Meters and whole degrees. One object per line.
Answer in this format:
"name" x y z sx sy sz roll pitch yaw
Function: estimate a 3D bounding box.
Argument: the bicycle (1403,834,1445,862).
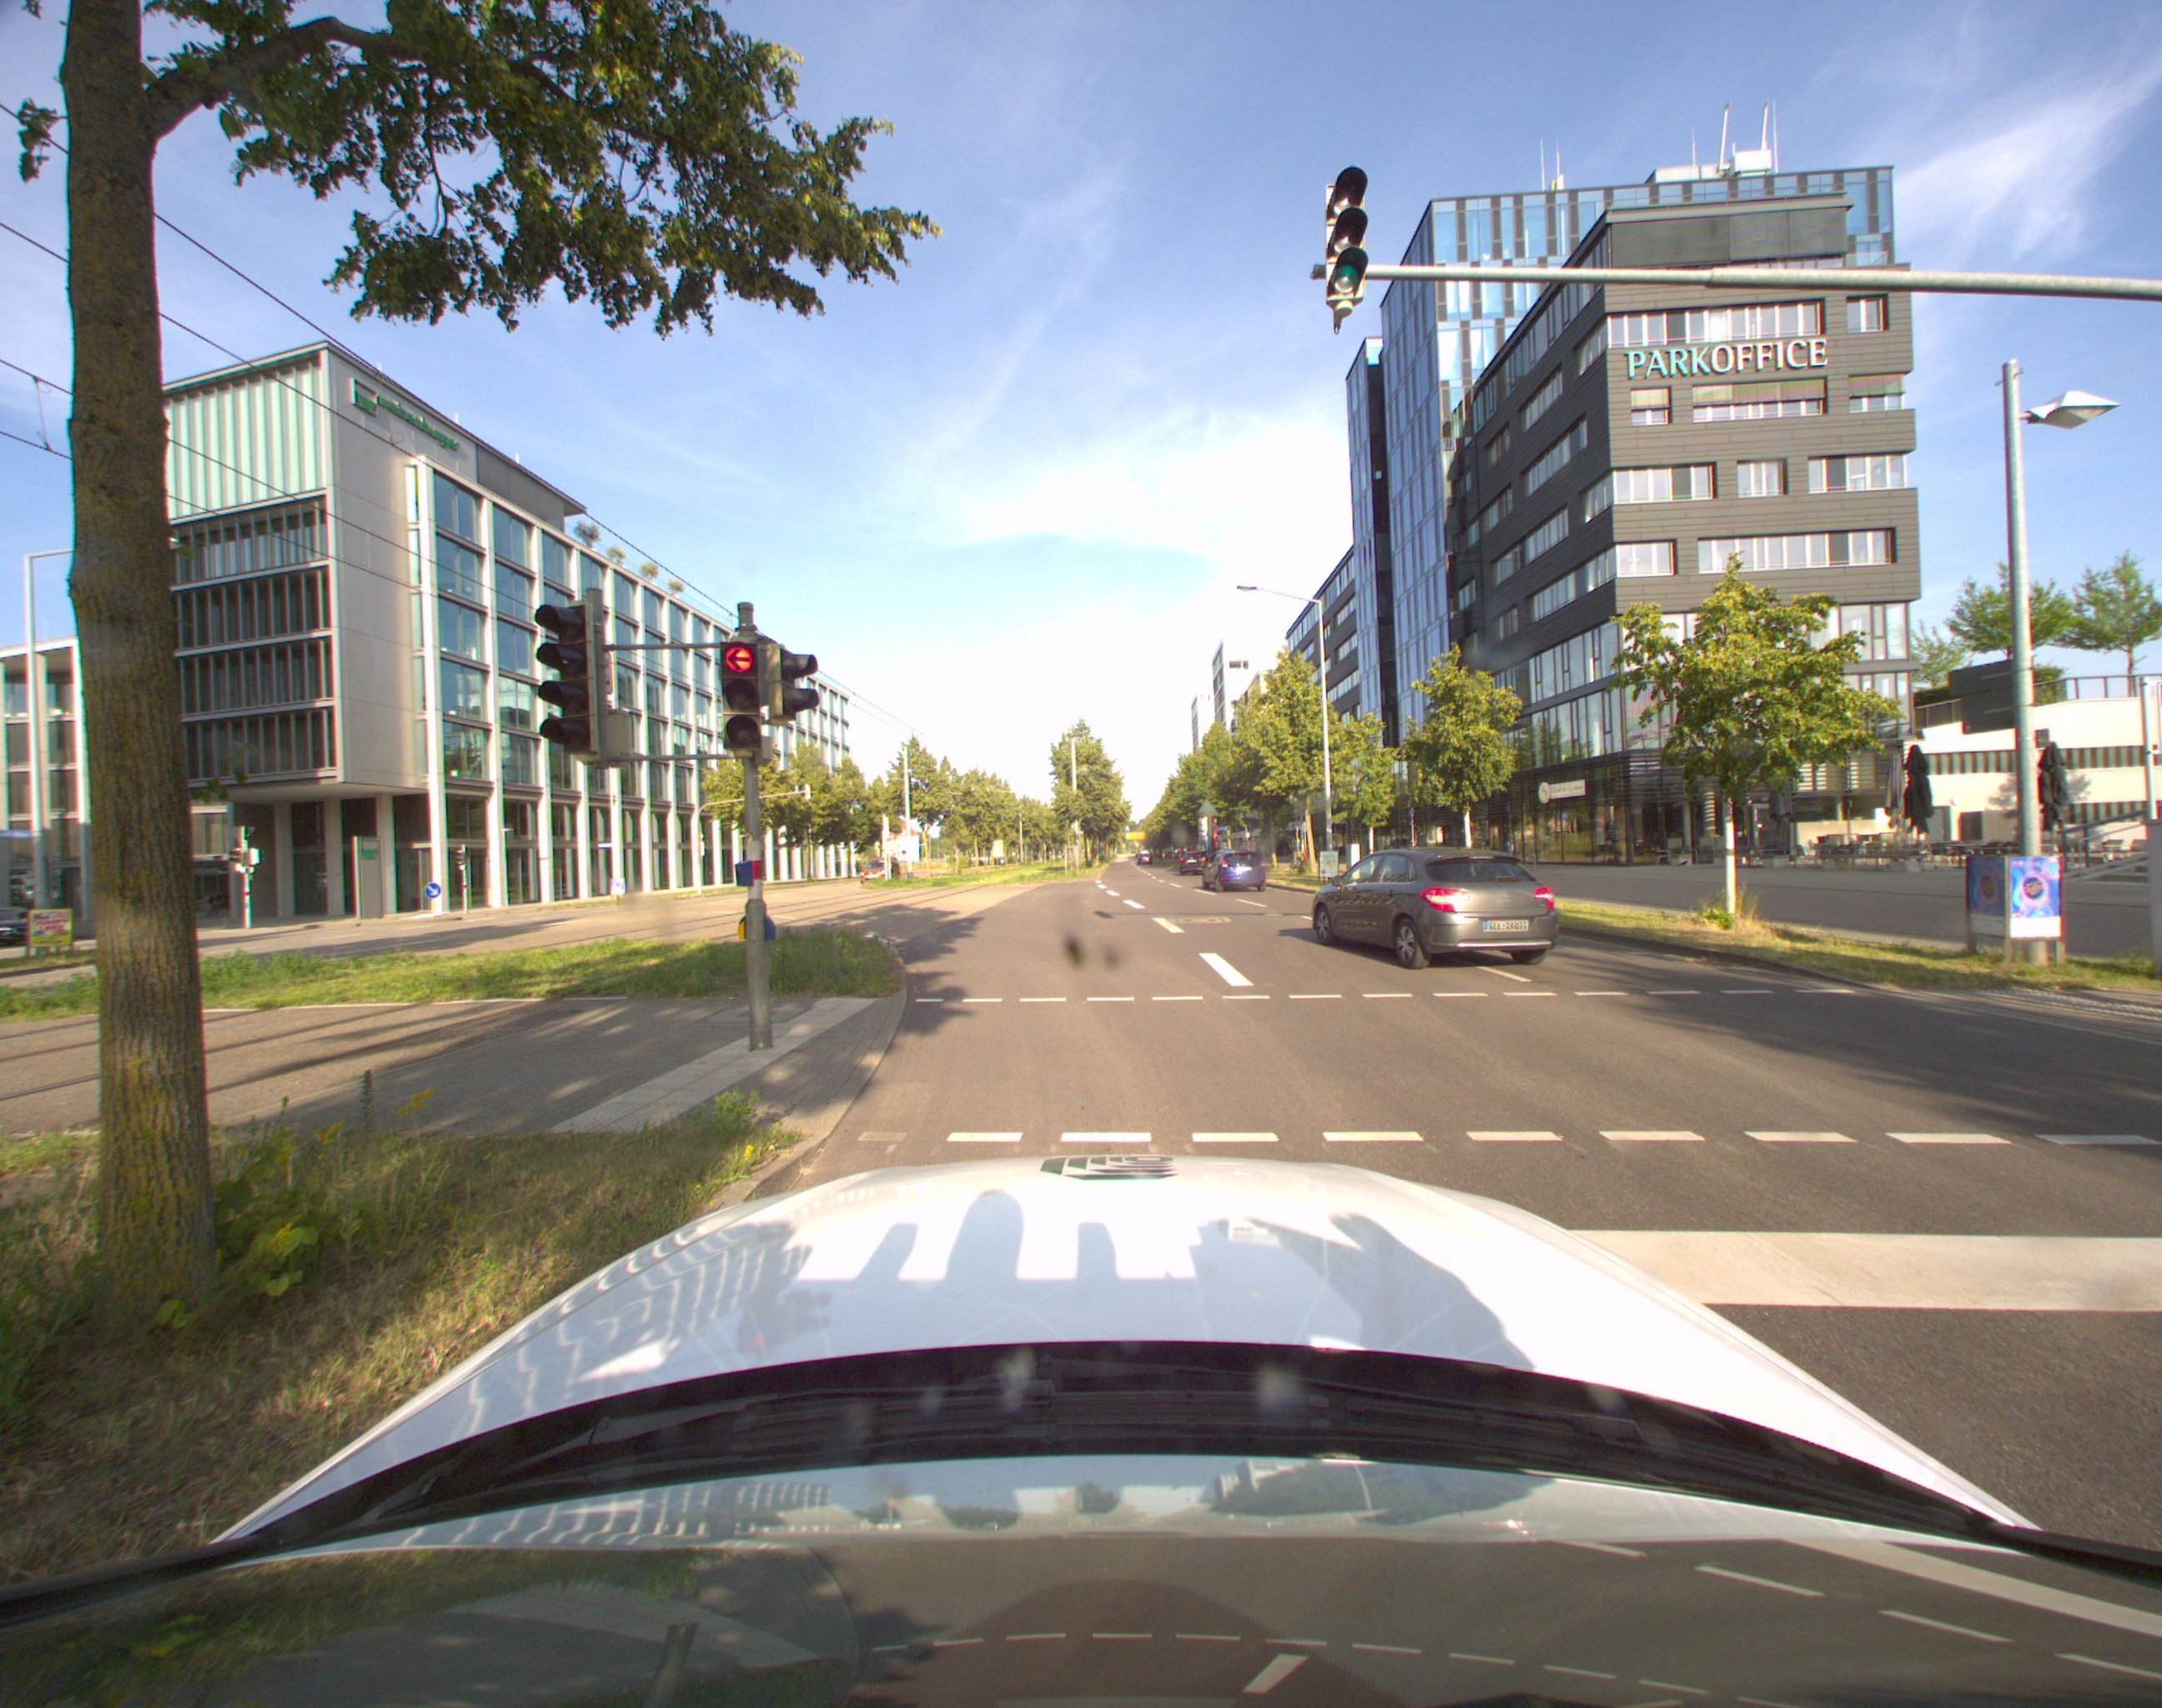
"bicycle" 22.075 -0.375 52.418 2.418 1.746 0.556 0 -1 12

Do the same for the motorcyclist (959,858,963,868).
"motorcyclist" -18.941 1.486 128.816 0.484 1.564 0.455 0 -1 1

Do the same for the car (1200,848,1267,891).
"car" 5.358 0.508 29.032 1.556 1.424 3.905 0 0 -1

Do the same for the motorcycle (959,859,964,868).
"motorcycle" -18.944 1.496 128.794 0.472 1.531 1.993 0 0 2

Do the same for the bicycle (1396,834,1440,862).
"bicycle" 22.098 -0.389 53.417 2.547 1.857 0.571 0 -1 12

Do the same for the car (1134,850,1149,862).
"car" 7.621 0.289 103.347 1.852 1.524 3.788 0 0 3

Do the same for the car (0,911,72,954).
"car" -40.500 2.940 30.770 3.477 1.424 1.581 0 0 12

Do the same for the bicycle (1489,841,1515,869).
"bicycle" 20.494 0.042 39.637 0.371 1.346 1.896 0 -1 3

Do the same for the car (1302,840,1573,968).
"car" 4.601 0.568 11.238 1.692 1.424 4.032 0 0 -5

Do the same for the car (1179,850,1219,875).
"car" 7.117 0.520 48.872 1.760 1.424 3.979 -1 0 18

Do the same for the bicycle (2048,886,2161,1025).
"bicycle" 9.008 0.768 6.427 2.128 1.013 0.571 0 0 -2

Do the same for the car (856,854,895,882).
"car" -13.861 0.915 55.211 1.679 1.775 3.881 0 0 -1

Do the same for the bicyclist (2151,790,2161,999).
"bicyclist" 9.093 0.330 6.427 0.573 1.707 0.541 0 -1 0
